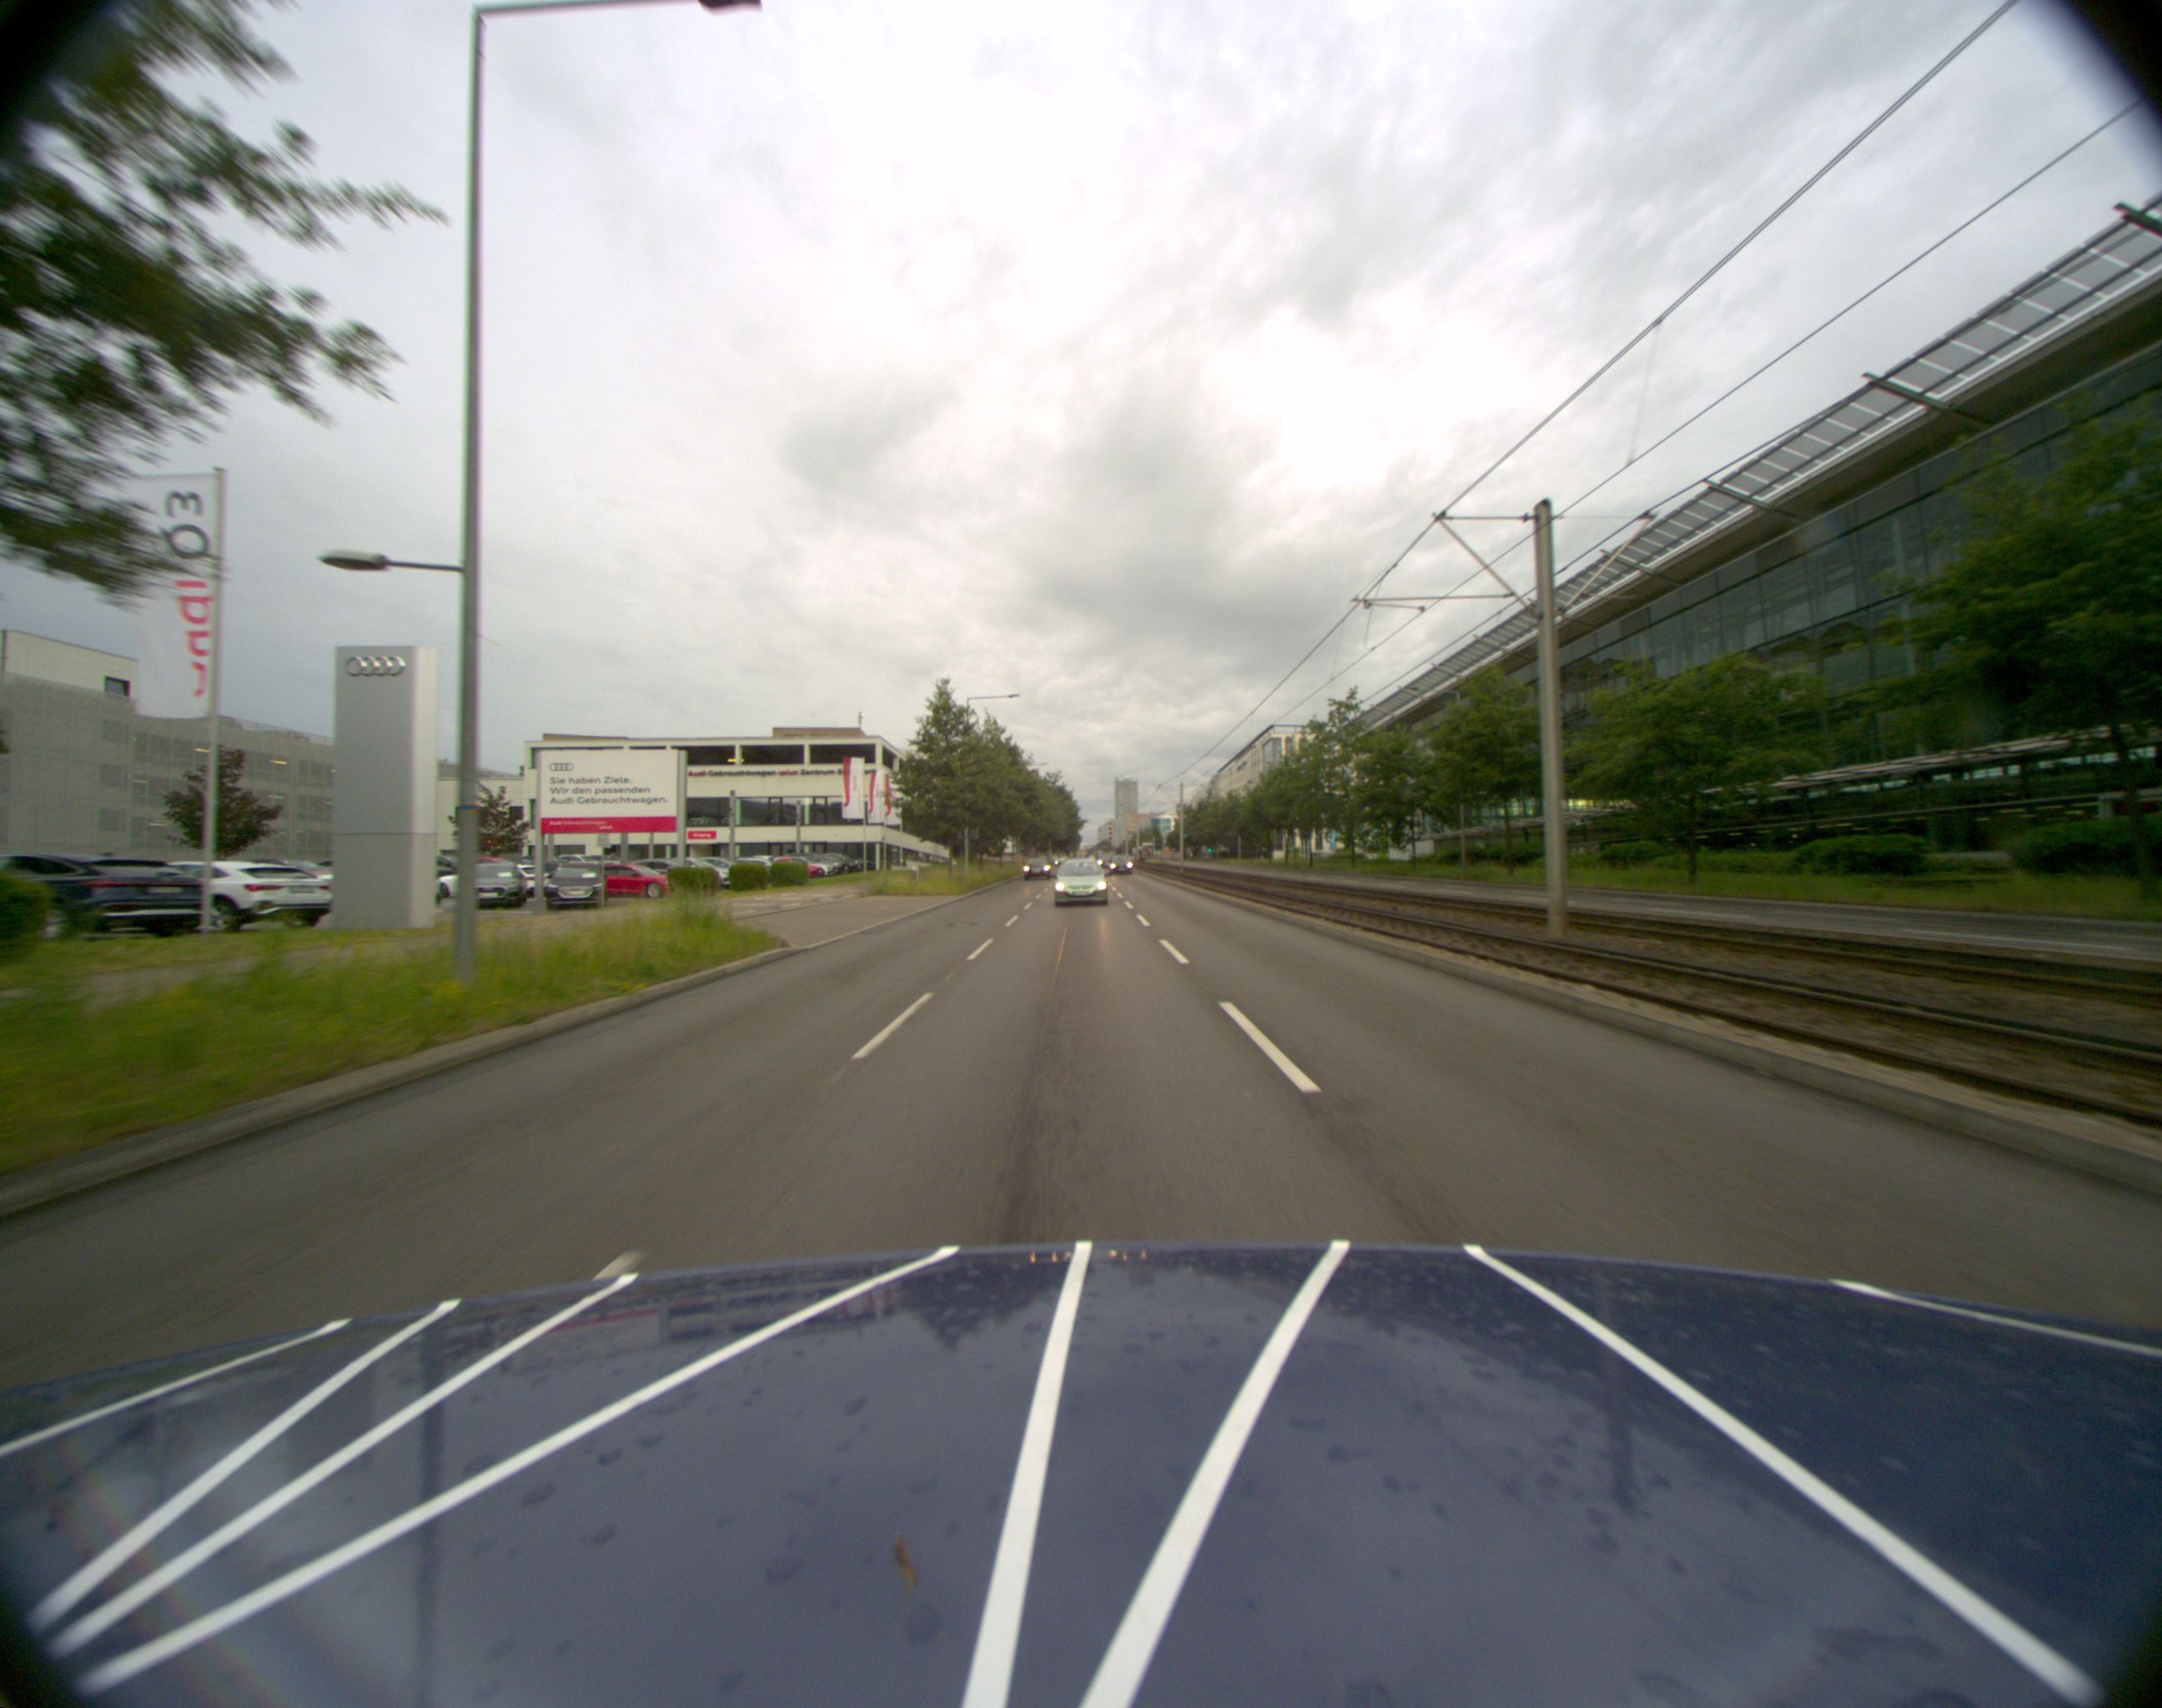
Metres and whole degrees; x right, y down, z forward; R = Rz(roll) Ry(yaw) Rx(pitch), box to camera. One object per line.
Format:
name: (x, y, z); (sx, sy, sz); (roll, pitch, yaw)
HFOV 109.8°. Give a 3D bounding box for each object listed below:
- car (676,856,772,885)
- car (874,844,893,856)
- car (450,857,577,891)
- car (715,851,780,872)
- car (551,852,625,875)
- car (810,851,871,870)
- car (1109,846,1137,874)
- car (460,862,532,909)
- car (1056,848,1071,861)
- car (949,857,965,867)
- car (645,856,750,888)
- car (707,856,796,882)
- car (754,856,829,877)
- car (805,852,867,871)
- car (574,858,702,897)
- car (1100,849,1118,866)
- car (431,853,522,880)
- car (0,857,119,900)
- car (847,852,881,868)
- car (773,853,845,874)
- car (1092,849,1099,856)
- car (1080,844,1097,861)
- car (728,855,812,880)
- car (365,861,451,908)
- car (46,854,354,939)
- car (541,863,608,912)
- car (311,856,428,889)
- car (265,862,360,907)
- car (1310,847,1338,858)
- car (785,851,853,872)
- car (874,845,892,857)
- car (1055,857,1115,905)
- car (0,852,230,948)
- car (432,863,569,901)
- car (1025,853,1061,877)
car: (-19.943, 0.889, 42.570); (4.473, 1.520, 1.930); (0, 1, -1)
car: (-29.010, -0.570, 111.756); (1.702, 1.666, 3.641); (-3, 1, 0)
car: (-26.947, 0.934, 36.199); (4.474, 1.542, 1.930); (0, 1, -4)
car: (-26.303, 0.588, 59.960); (4.288, 1.542, 1.826); (-1, 1, -2)
car: (-37.172, 0.700, 57.346); (4.288, 1.584, 1.826); (-1, 1, -2)
car: (-20.059, 0.508, 63.551); (4.409, 1.473, 1.930); (-1, 1, 0)
car: (3.259, 0.431, 58.879); (1.998, 2.002, 4.000); (-3, 1, 3)
car: (-21.922, 1.135, 28.586); (1.775, 1.584, 3.553); (1, 0, -32)
car: (-2.743, 0.133, 119.410); (1.860, 1.799, 4.115); (-2, -1, 3)
car: (-19.200, 1.215, 118.101); (1.702, 1.476, 4.460); (-3, 1, 0)
car: (-19.917, 0.923, 39.588); (4.473, 1.542, 1.930); (0, 1, -1)
car: (-19.603, 0.890, 45.369); (4.473, 1.447, 1.930); (0, 1, -1)
car: (-19.688, 0.852, 51.786); (4.409, 1.341, 1.930); (0, 2, -1)
car: (-19.465, 0.580, 60.462); (4.331, 1.370, 1.836); (0, 1, -2)
car: (-19.525, 0.995, 33.644); (4.474, 1.542, 1.930); (-1, 1, -4)
car: (3.119, 0.426, 83.996); (1.860, 1.799, 4.116); (-2, -1, 3)
car: (-38.613, 0.761, 48.615); (4.288, 1.584, 1.826); (-1, 1, -2)
car: (-40.462, 0.920, 30.108); (1.775, 1.584, 3.553); (1, 0, -32)
car: (-19.319, 0.509, 67.902); (1.902, 1.330, 3.921); (-1, 1, 0)
car: (-19.428, 0.651, 54.344); (4.408, 1.419, 1.890); (0, 1, 0)
car: (4.326, -0.490, 226.698); (1.998, 1.838, 4.000); (-3, 1, 2)
car: (0.991, -0.241, 98.288); (1.998, 2.002, 4.000); (-3, 1, 4)
car: (-19.728, 0.838, 48.362); (4.473, 1.447, 1.930); (-1, 1, 0)
car: (-25.451, 1.106, 28.866); (1.775, 1.584, 3.983); (1, 0, -32)
car: (-19.248, 0.872, 16.821); (4.118, 1.585, 1.946); (-2, 2, -8)
car: (-19.161, 1.200, 28.902); (1.841, 1.584, 4.349); (-2, 1, -31)
car: (-37.079, 0.945, 39.670); (4.288, 1.584, 1.826); (-1, 1, -2)
car: (-29.818, 1.126, 29.596); (1.775, 1.584, 3.553); (1, 0, -32)
car: (38.623, -0.238, 120.838); (3.990, 1.383, 1.806); (-2, 1, 27)
car: (-19.567, 0.564, 56.895); (4.408, 1.492, 2.040); (0, 1, 0)
car: (-29.118, -0.505, 111.539); (1.702, 1.666, 3.521); (1, 1, 0)
car: (0.227, 0.918, 27.121); (1.828, 1.499, 4.115); (-2, -1, 4)
car: (-19.030, 0.835, 14.159); (4.116, 1.585, 1.871); (-2, 1, -1)
car: (-25.678, 1.218, 33.725); (4.474, 1.542, 1.930); (1, 1, -4)
car: (-2.679, 0.810, 54.705); (1.828, 1.599, 4.117); (-2, -1, 7)
